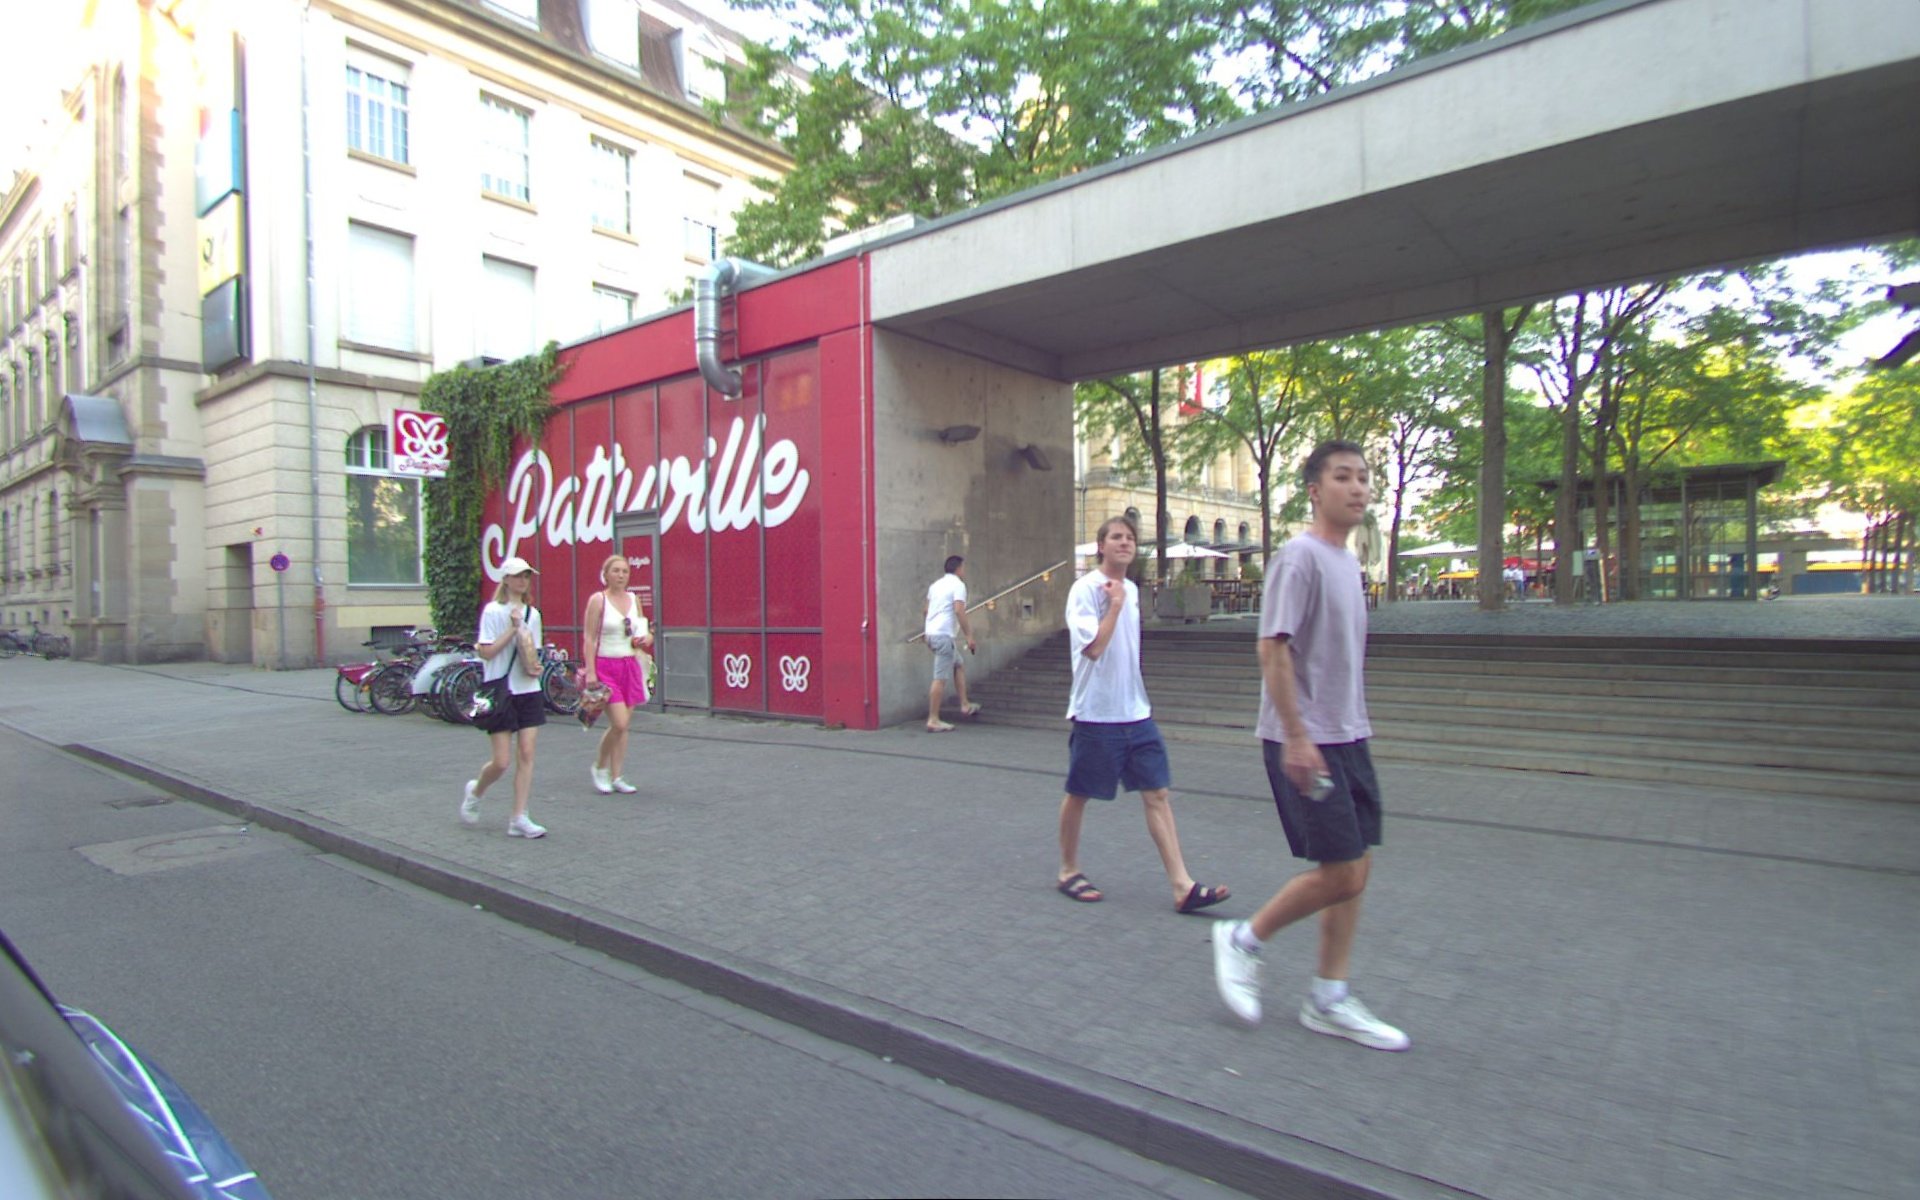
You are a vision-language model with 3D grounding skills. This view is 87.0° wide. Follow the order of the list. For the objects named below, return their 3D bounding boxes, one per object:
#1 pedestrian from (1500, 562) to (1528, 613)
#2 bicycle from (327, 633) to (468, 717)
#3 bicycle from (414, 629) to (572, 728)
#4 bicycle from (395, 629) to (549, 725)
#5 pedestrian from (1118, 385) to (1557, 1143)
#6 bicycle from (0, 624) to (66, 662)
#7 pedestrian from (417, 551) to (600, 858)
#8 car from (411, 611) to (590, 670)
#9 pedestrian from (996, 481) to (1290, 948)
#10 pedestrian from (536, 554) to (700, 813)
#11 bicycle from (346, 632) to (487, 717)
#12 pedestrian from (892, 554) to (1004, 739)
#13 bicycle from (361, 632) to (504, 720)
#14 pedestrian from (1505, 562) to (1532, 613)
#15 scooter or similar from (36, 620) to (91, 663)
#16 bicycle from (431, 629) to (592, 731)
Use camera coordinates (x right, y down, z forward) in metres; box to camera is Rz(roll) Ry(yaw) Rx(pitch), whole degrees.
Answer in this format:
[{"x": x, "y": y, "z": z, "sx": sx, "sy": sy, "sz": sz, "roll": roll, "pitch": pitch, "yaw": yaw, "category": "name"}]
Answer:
[{"x": 25.577, "y": -0.576, "z": 46.745, "sx": 0.802, "sy": 2.348, "sz": 0.741, "roll": -1, "pitch": -1, "yaw": -28, "category": "pedestrian"}, {"x": -8.360, "y": 1.080, "z": 15.103, "sx": 0.499, "sy": 1.116, "sz": 1.777, "roll": -2, "pitch": 0, "yaw": 39, "category": "bicycle"}, {"x": -5.976, "y": 0.971, "z": 13.043, "sx": 0.500, "sy": 1.116, "sz": 1.775, "roll": -1, "pitch": 0, "yaw": 42, "category": "bicycle"}, {"x": -6.452, "y": 0.981, "z": 13.459, "sx": 0.500, "sy": 1.116, "sz": 1.775, "roll": -1, "pitch": 0, "yaw": 42, "category": "bicycle"}, {"x": 1.171, "y": 0.415, "z": 3.168, "sx": 1.049, "sy": 1.908, "sz": 0.736, "roll": -2, "pitch": 0, "yaw": 40, "category": "pedestrian"}, {"x": -30.463, "y": 1.388, "z": 32.924, "sx": 0.616, "sy": 1.069, "sz": 1.928, "roll": -1, "pitch": 3, "yaw": 24, "category": "bicycle"}, {"x": -2.855, "y": 0.607, "z": 6.391, "sx": 0.984, "sy": 1.763, "sz": 0.642, "roll": -2, "pitch": 0, "yaw": 39, "category": "pedestrian"}, {"x": -12.019, "y": 1.027, "z": 26.662, "sx": 1.748, "sy": 1.381, "sz": 3.966, "roll": -2, "pitch": -1, "yaw": 38, "category": "car"}, {"x": 0.821, "y": 0.443, "z": 4.544, "sx": 1.008, "sy": 1.826, "sz": 0.734, "roll": -2, "pitch": 2, "yaw": 39, "category": "pedestrian"}, {"x": -2.515, "y": 0.568, "z": 7.450, "sx": 0.845, "sy": 1.763, "sz": 0.745, "roll": -2, "pitch": 1, "yaw": 39, "category": "pedestrian"}, {"x": -8.014, "y": 1.071, "z": 14.983, "sx": 0.499, "sy": 1.116, "sz": 1.777, "roll": -2, "pitch": 0, "yaw": 38, "category": "bicycle"}, {"x": -0.128, "y": 0.447, "z": 10.236, "sx": 0.834, "sy": 1.767, "sz": 0.721, "roll": -2, "pitch": 0, "yaw": -30, "category": "pedestrian"}, {"x": -7.600, "y": 1.062, "z": 14.643, "sx": 0.499, "sy": 1.116, "sz": 1.777, "roll": -2, "pitch": 0, "yaw": 38, "category": "bicycle"}, {"x": 26.181, "y": -0.578, "z": 47.466, "sx": 0.802, "sy": 2.348, "sz": 0.741, "roll": -1, "pitch": -1, "yaw": -29, "category": "pedestrian"}, {"x": -27.301, "y": 1.259, "z": 30.818, "sx": 0.494, "sy": 1.242, "sz": 1.126, "roll": -2, "pitch": 1, "yaw": 27, "category": "scooter or similar"}, {"x": -5.610, "y": 0.963, "z": 12.749, "sx": 0.500, "sy": 1.116, "sz": 1.775, "roll": -1, "pitch": 0, "yaw": 42, "category": "bicycle"}]
